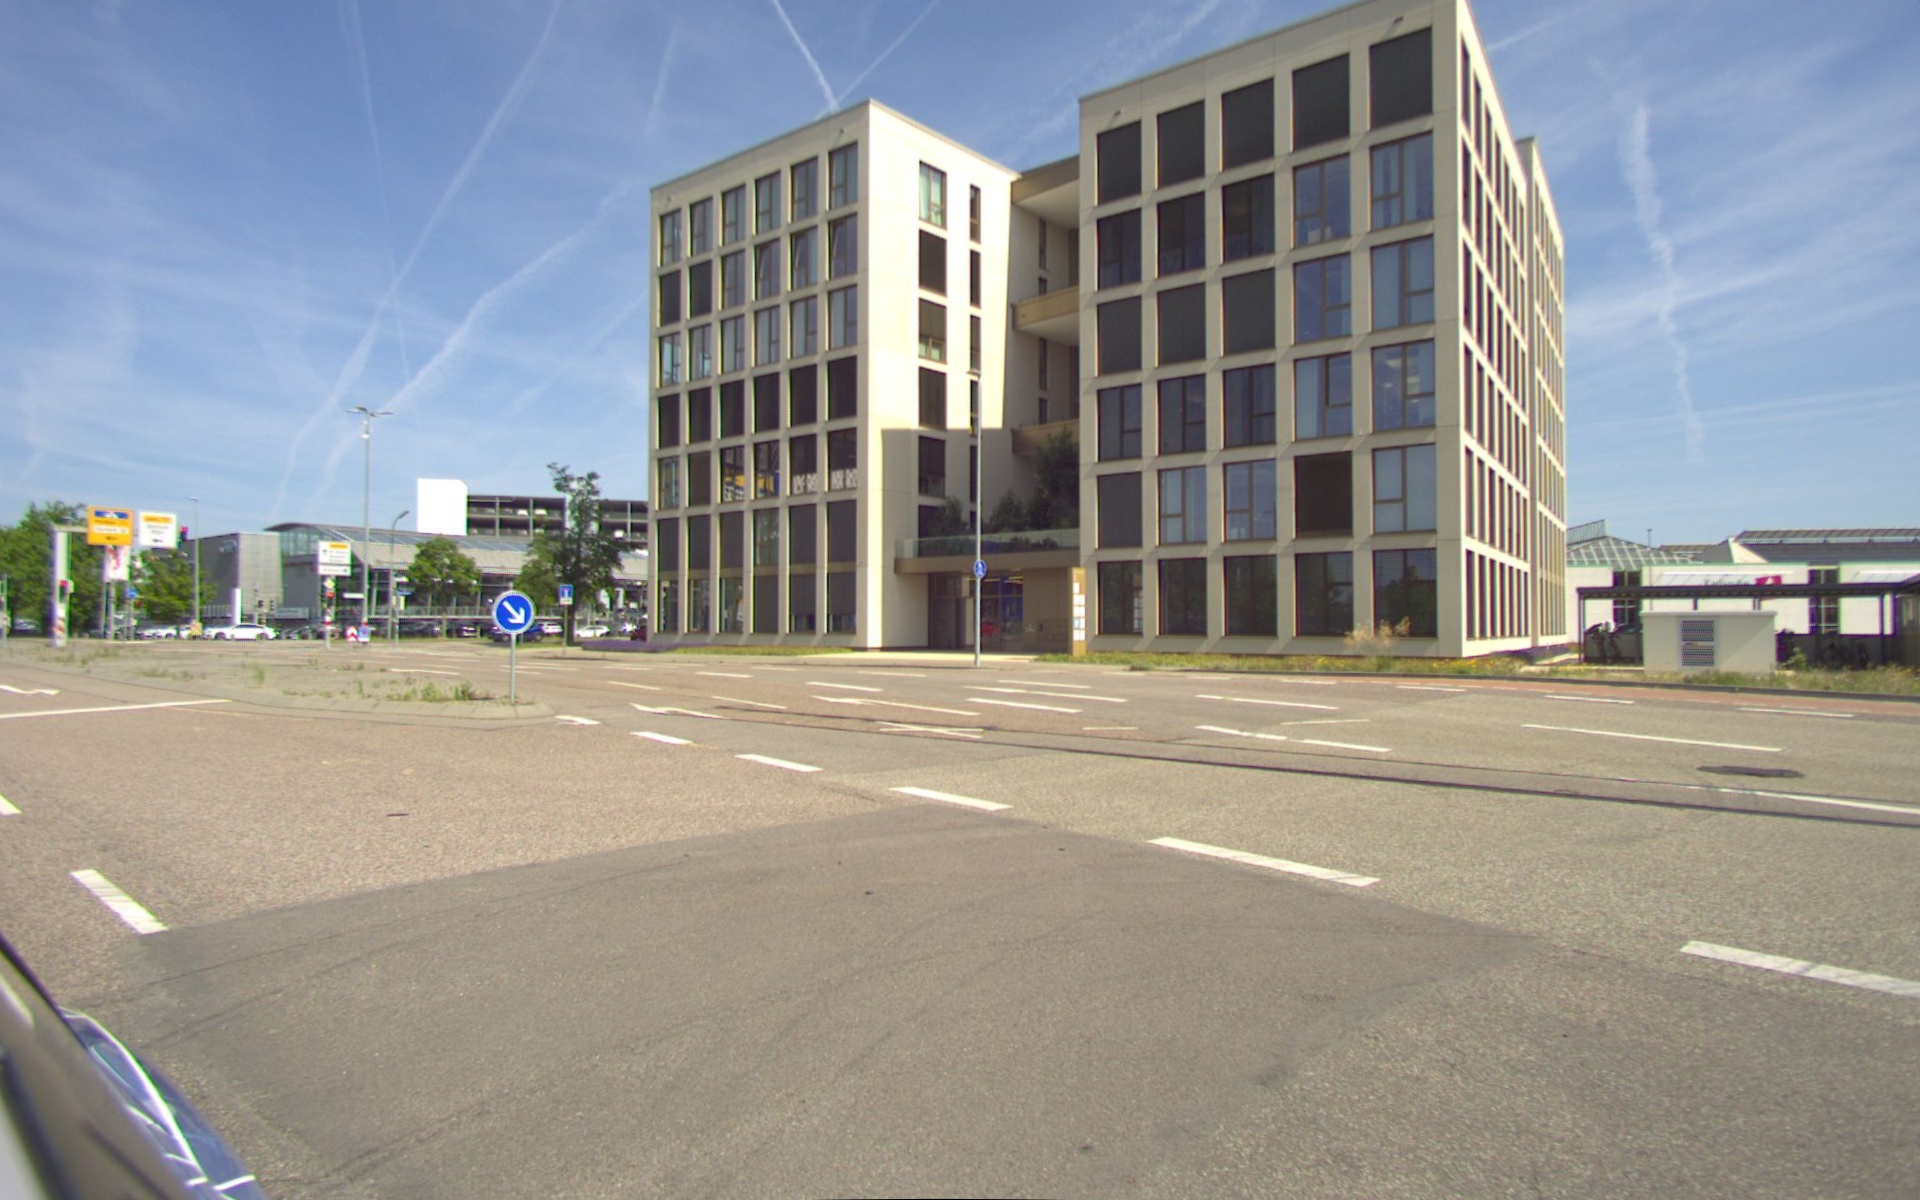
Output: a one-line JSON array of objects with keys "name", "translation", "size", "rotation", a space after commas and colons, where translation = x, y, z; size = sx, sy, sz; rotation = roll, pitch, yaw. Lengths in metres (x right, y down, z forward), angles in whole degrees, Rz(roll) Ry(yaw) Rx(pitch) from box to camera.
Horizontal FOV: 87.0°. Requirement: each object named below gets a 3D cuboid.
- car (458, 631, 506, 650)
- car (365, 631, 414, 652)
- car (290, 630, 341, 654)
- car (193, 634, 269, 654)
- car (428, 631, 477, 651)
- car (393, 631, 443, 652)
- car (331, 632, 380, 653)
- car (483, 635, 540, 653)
[{"name": "car", "translation": [-42.125, 3.583, 89.150], "size": [4.621, 1.453, 1.772], "rotation": [-4, -4, 35]}, {"name": "car", "translation": [-46.586, 3.398, 82.616], "size": [4.365, 1.556, 1.772], "rotation": [-4, -4, 35]}, {"name": "car", "translation": [-49.862, 3.261, 78.269], "size": [4.586, 1.626, 1.797], "rotation": [-5, -4, 36]}, {"name": "car", "translation": [-55.593, 3.361, 77.239], "size": [1.897, 1.443, 4.332], "rotation": [-2, -2, 37]}, {"name": "car", "translation": [-43.713, 3.509, 87.121], "size": [4.663, 1.529, 1.763], "rotation": [-4, -4, 35]}, {"name": "car", "translation": [-45.474, 3.473, 84.917], "size": [4.766, 1.517, 1.772], "rotation": [-4, -4, 35]}, {"name": "car", "translation": [-47.889, 3.380, 80.115], "size": [4.190, 1.453, 1.772], "rotation": [-4, -4, 35]}, {"name": "car", "translation": [-35.121, 3.443, 79.335], "size": [1.660, 1.299, 3.750], "rotation": [-1, -2, 43]}]
